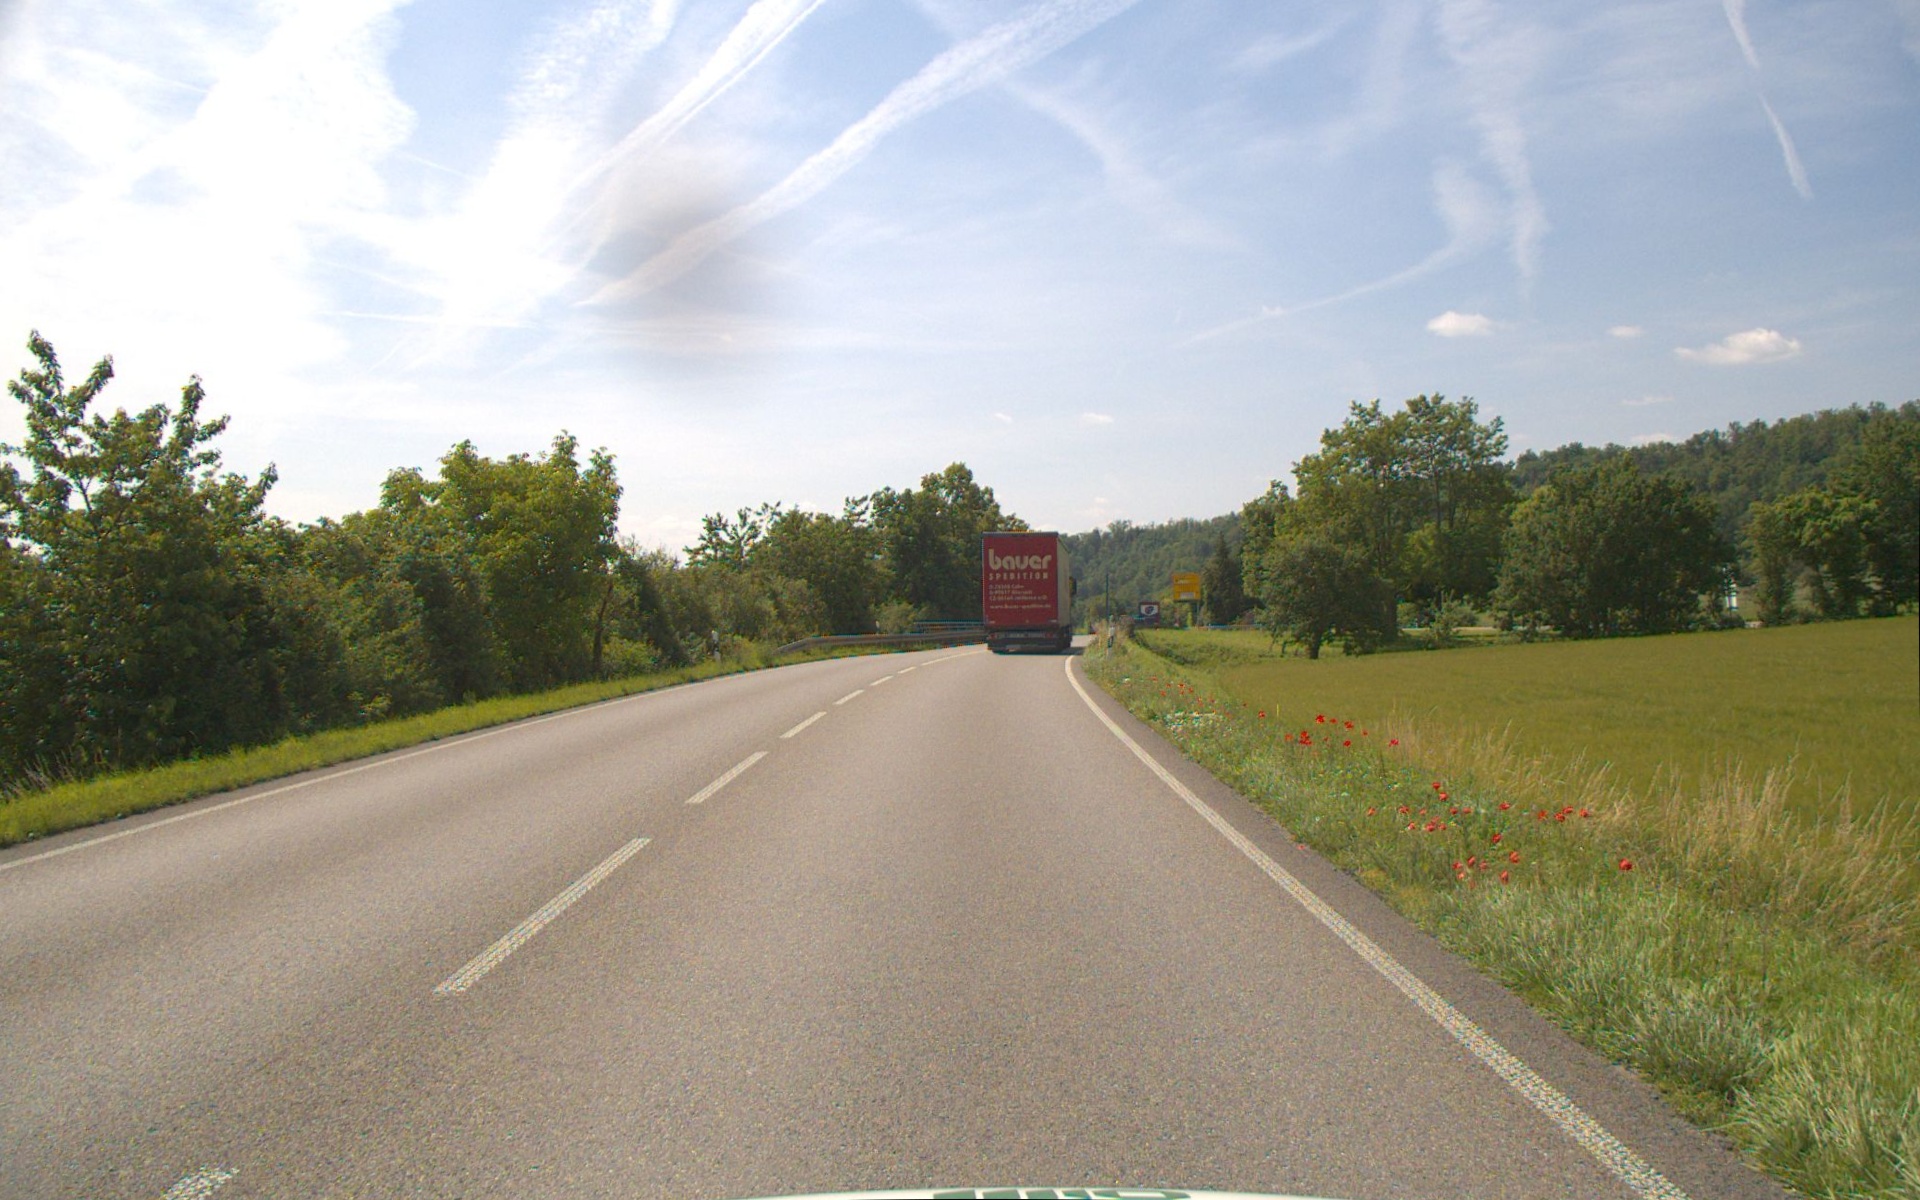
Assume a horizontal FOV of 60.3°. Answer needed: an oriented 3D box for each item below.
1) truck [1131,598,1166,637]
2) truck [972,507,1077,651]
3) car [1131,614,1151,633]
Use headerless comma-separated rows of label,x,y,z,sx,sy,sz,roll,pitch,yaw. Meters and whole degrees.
truck,23.369,2.237,204.691,3.821,4.447,13.301,0,-2,9
truck,2.579,-0.642,60.896,3.105,4.706,13.551,0,0,5
car,19.176,2.532,175.122,1.951,1.842,4.003,1,-2,9
